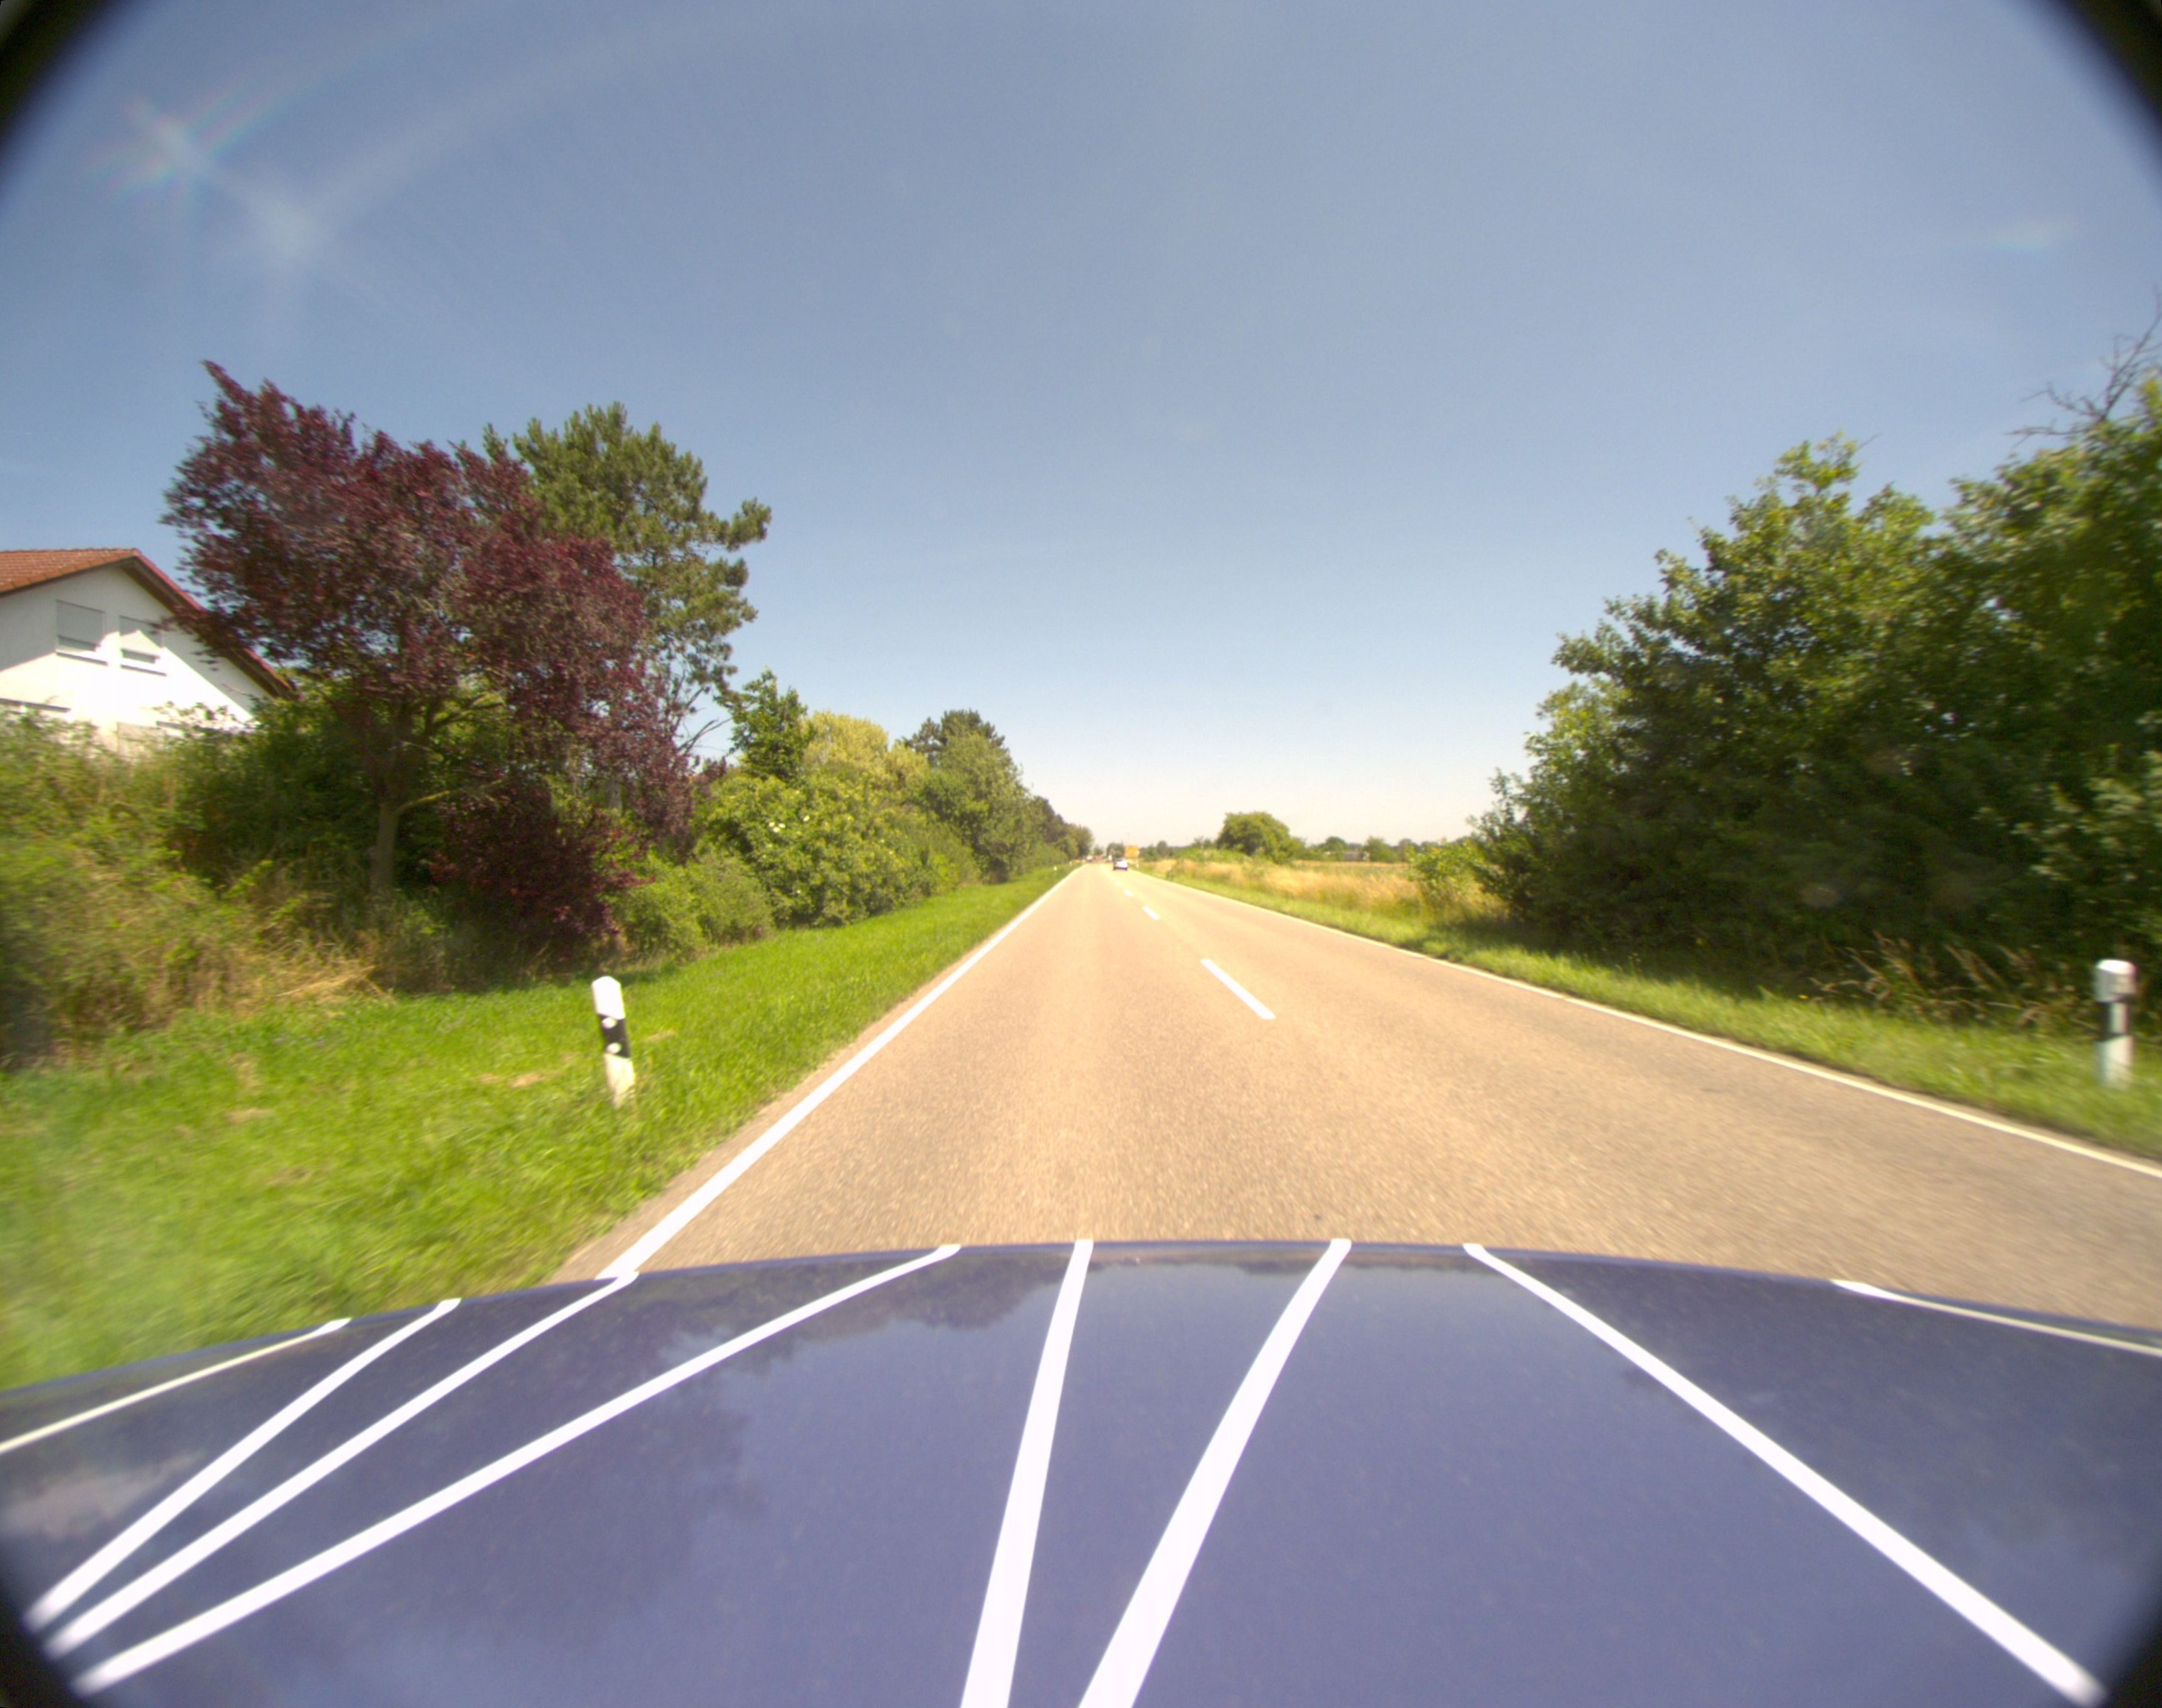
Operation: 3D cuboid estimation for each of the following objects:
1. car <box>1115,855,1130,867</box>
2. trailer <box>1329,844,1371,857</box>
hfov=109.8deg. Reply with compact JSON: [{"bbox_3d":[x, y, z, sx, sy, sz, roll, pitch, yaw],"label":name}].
[{"bbox_3d":[5.134,0.906,94.508,1.682,1.412,4.422,1,0,0],"label":"car"},{"bbox_3d":[81.342,-0.938,230.101,2.647,3.911,13.850,0,0,-28],"label":"trailer"}]
